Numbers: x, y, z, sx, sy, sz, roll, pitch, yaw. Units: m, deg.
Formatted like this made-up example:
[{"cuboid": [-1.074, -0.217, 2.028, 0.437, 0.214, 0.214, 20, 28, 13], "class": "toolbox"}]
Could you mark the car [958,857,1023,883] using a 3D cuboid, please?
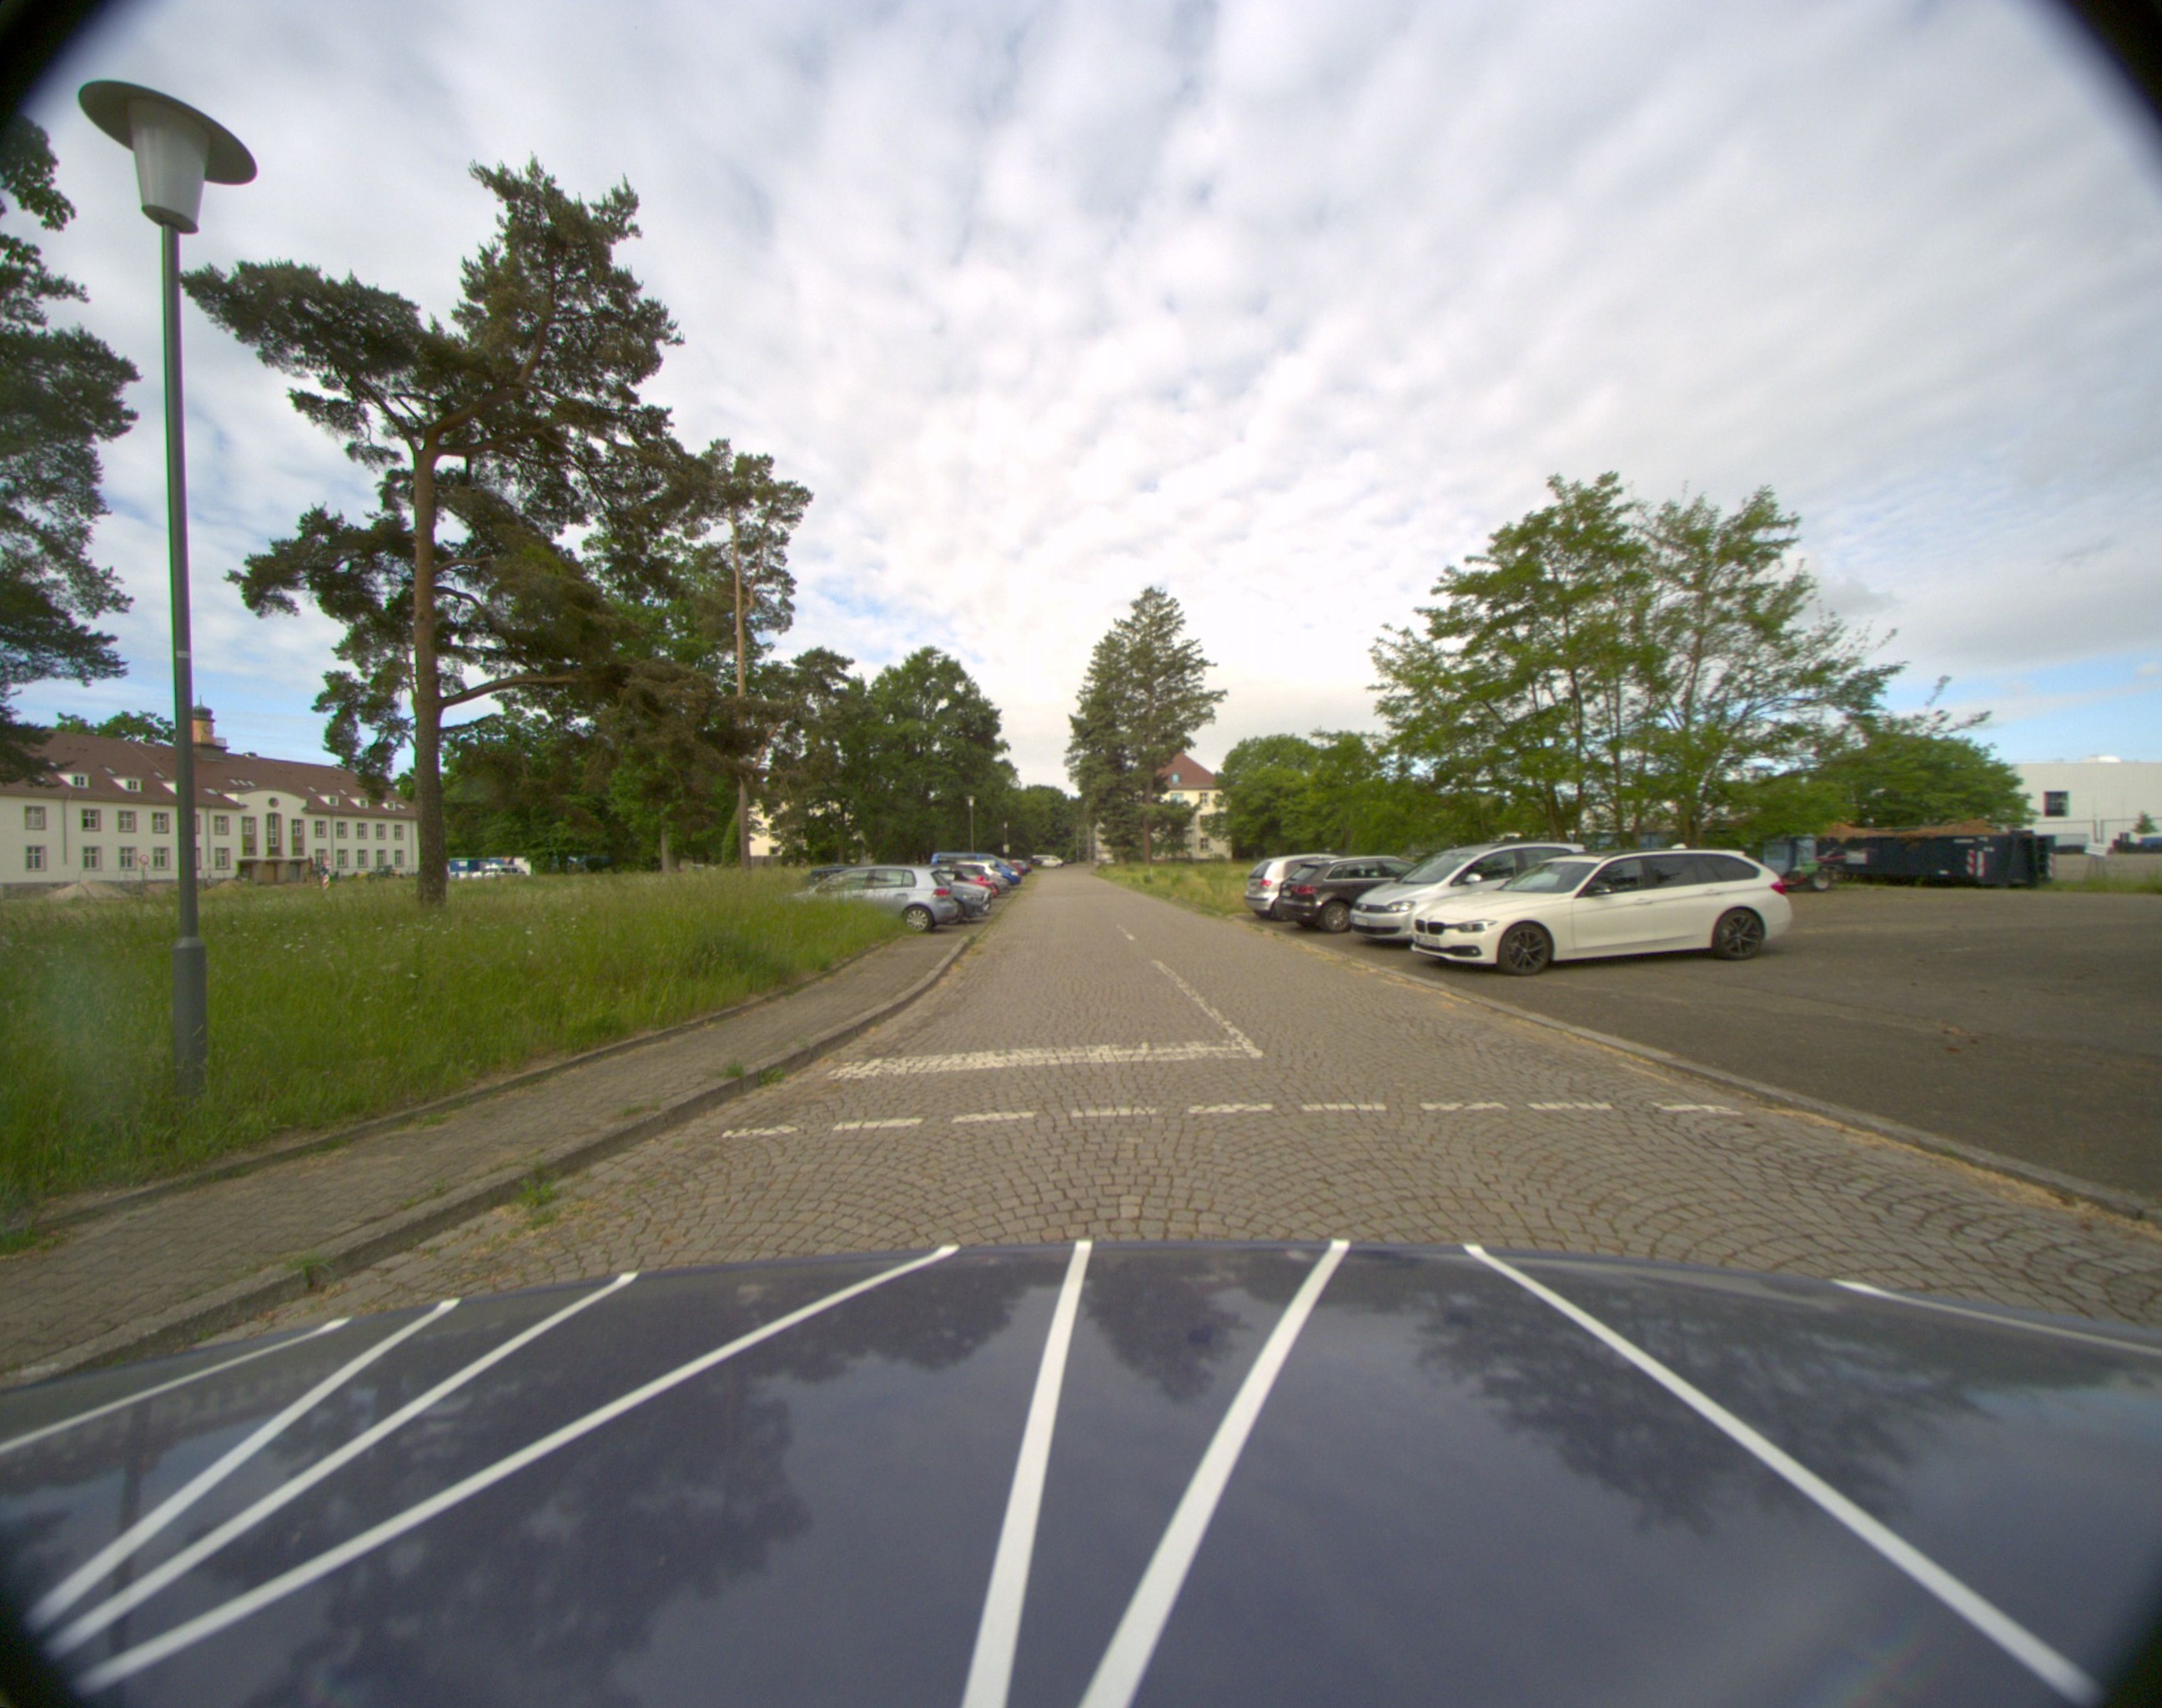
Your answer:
[{"cuboid": [-5.837, 1.025, 49.388, 3.998, 1.601, 2.000, -1, 0, -2], "class": "car"}]

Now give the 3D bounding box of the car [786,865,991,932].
[{"cuboid": [-4.727, 1.078, 19.216, 4.771, 1.474, 1.761, -1, 0, -5], "class": "car"}]

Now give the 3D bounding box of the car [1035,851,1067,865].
[{"cuboid": [-4.891, 0.634, 123.307, 5.031, 2.164, 2.000, -1, 0, 0], "class": "car"}]

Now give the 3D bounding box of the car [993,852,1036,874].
[{"cuboid": [-6.456, 0.849, 74.354, 3.997, 2.002, 2.000, -1, 0, -1], "class": "car"}]

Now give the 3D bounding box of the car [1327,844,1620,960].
[{"cuboid": [6.409, 0.724, 12.632, 3.999, 1.538, 1.723, -3, 1, -7], "class": "car"}]

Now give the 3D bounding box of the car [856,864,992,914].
[{"cuboid": [-4.950, 1.085, 24.357, 3.972, 1.443, 1.799, -1, 0, -2], "class": "car"}]

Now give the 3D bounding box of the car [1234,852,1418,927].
[{"cuboid": [5.744, 0.794, 18.058, 3.689, 1.444, 1.807, -4, 1, -7], "class": "car"}]

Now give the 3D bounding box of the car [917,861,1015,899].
[{"cuboid": [-4.825, 1.083, 32.228, 3.849, 1.448, 1.820, -1, 0, 0], "class": "car"}]

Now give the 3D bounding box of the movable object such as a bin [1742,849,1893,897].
[{"cuboid": [18.985, 0.461, 19.668, 2.397, 1.154, 1.500, -1, 0, 3], "class": "movable object such as a bin"}]

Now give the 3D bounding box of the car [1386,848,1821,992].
[{"cuboid": [6.753, 0.776, 10.088, 4.661, 1.435, 1.801, -3, 1, -6], "class": "car"}]

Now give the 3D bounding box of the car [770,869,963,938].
[{"cuboid": [-4.561, 1.041, 16.572, 3.774, 1.418, 1.605, 0, 0, -3], "class": "car"}]

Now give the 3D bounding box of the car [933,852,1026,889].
[{"cuboid": [-5.334, 0.842, 40.461, 4.750, 1.928, 1.999, 0, 0, -2], "class": "car"}]

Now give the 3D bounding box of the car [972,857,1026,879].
[{"cuboid": [-6.421, 1.099, 59.703, 3.998, 1.521, 2.000, -2, 0, -2], "class": "car"}]

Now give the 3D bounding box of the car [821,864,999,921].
[{"cuboid": [-4.859, 1.087, 22.097, 4.770, 1.474, 1.812, -1, 0, -2], "class": "car"}]

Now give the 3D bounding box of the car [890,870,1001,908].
[{"cuboid": [-4.673, 1.203, 26.593, 3.600, 1.200, 1.494, -1, 0, -1], "class": "car"}]

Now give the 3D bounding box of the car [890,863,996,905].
[{"cuboid": [-5.253, 1.120, 29.323, 3.787, 1.497, 1.798, -1, 0, -4], "class": "car"}]

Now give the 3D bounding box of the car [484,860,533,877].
[{"cuboid": [-71.172, 1.789, 94.577, 2.154, 2.002, 5.224, -1, 0, 1], "class": "car"}]

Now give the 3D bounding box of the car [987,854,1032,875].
[{"cuboid": [-6.546, 0.954, 69.952, 4.008, 1.752, 2.000, -1, 0, -1], "class": "car"}]

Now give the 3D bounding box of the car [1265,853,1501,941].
[{"cuboid": [5.964, 0.804, 15.315, 3.998, 1.419, 1.750, -4, 1, -3], "class": "car"}]

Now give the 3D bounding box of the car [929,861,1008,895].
[{"cuboid": [-5.152, 1.084, 35.042, 3.409, 1.443, 1.637, -1, 0, -1], "class": "car"}]
